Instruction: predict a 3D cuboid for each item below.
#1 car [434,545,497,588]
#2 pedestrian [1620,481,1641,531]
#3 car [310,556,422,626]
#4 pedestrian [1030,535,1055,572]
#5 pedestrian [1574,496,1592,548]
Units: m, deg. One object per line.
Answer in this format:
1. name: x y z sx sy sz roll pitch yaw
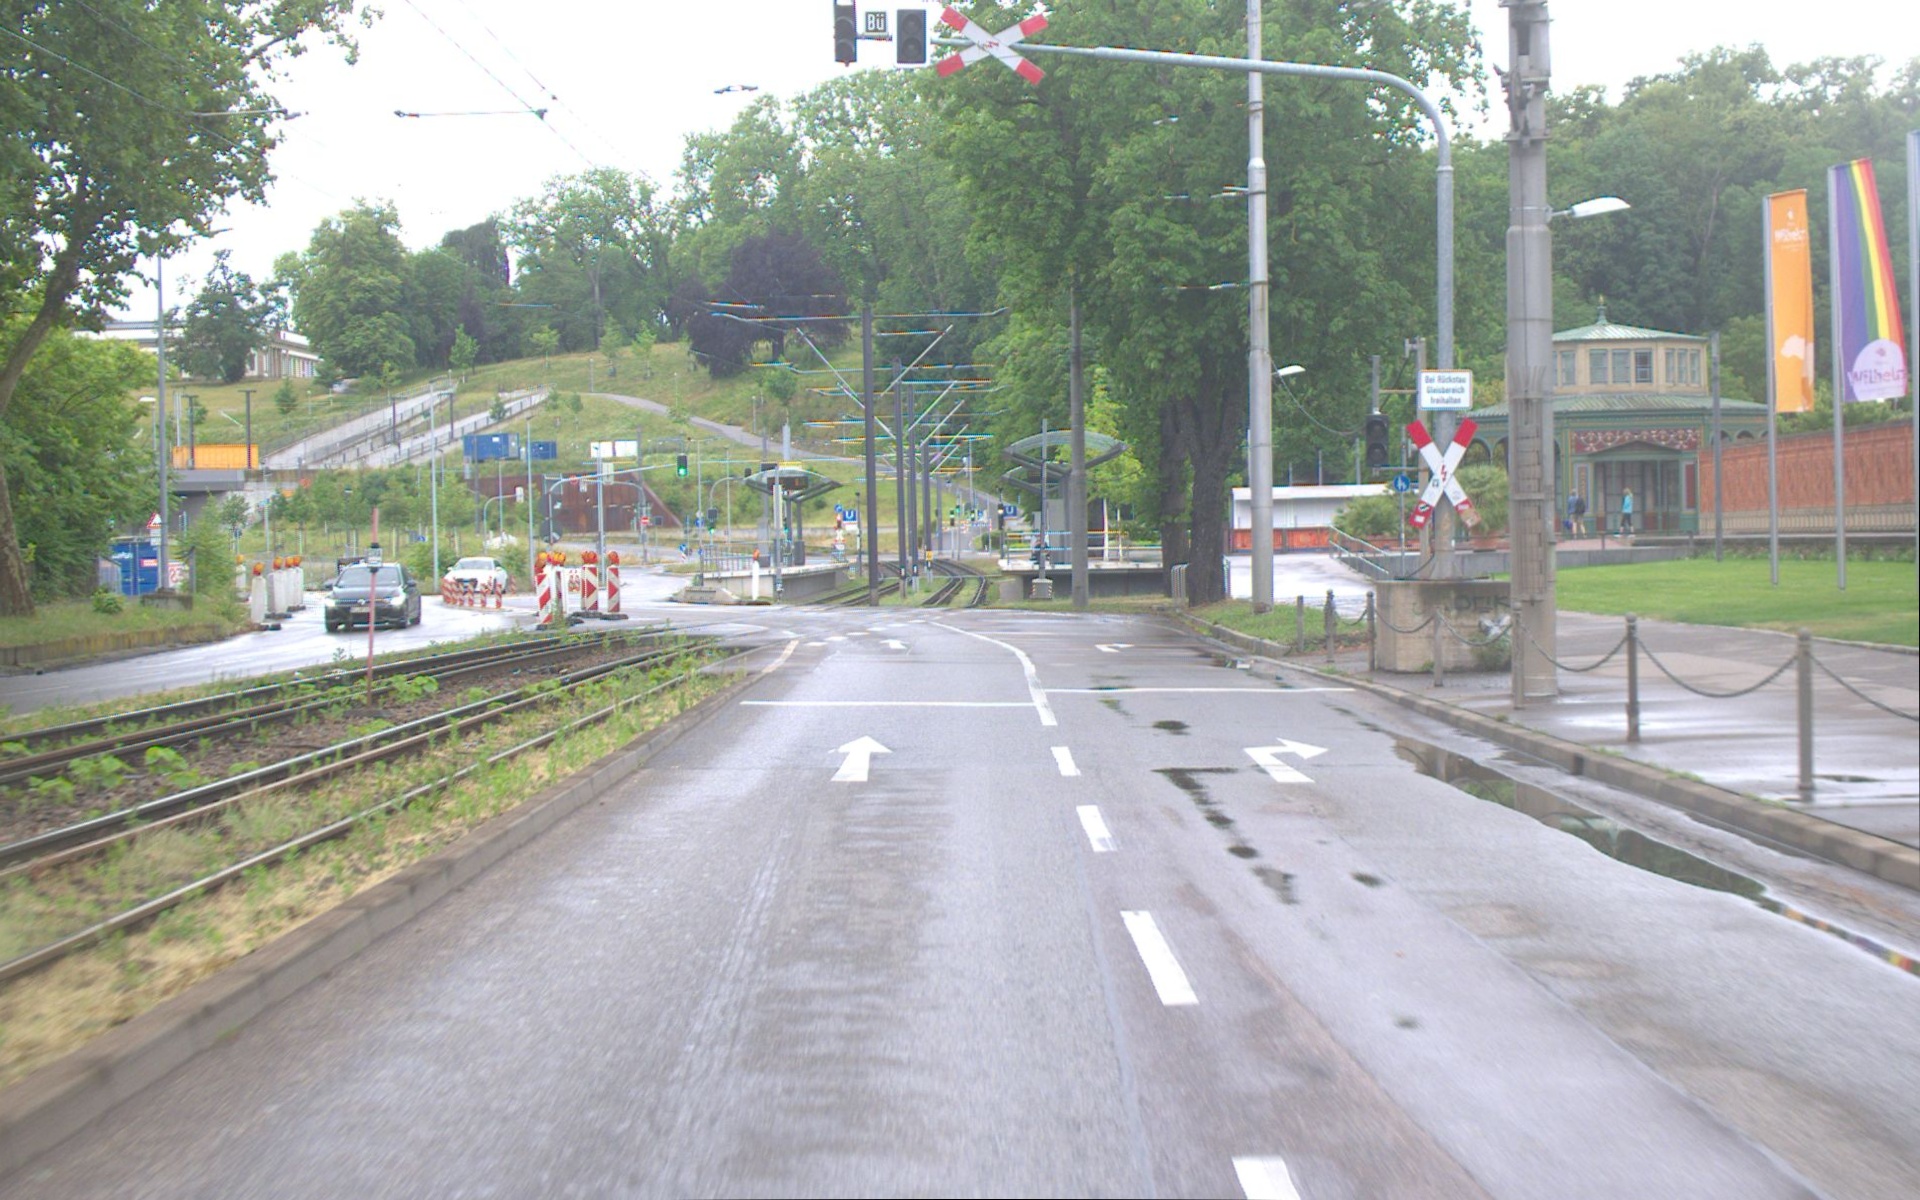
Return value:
1. car: -18.012 -1.238 125.339 1.708 1.493 4.720 -2 1 -2
2. pedestrian: 22.448 -3.152 115.074 0.551 1.651 0.468 0 0 35
3. car: -13.271 -0.220 77.023 1.746 1.425 4.561 -2 1 -1
4. pedestrian: 2.579 -1.455 108.003 0.600 1.115 0.520 3 0 -15
5. pedestrian: 20.970 -2.633 115.716 0.531 1.705 0.695 1 -1 12
